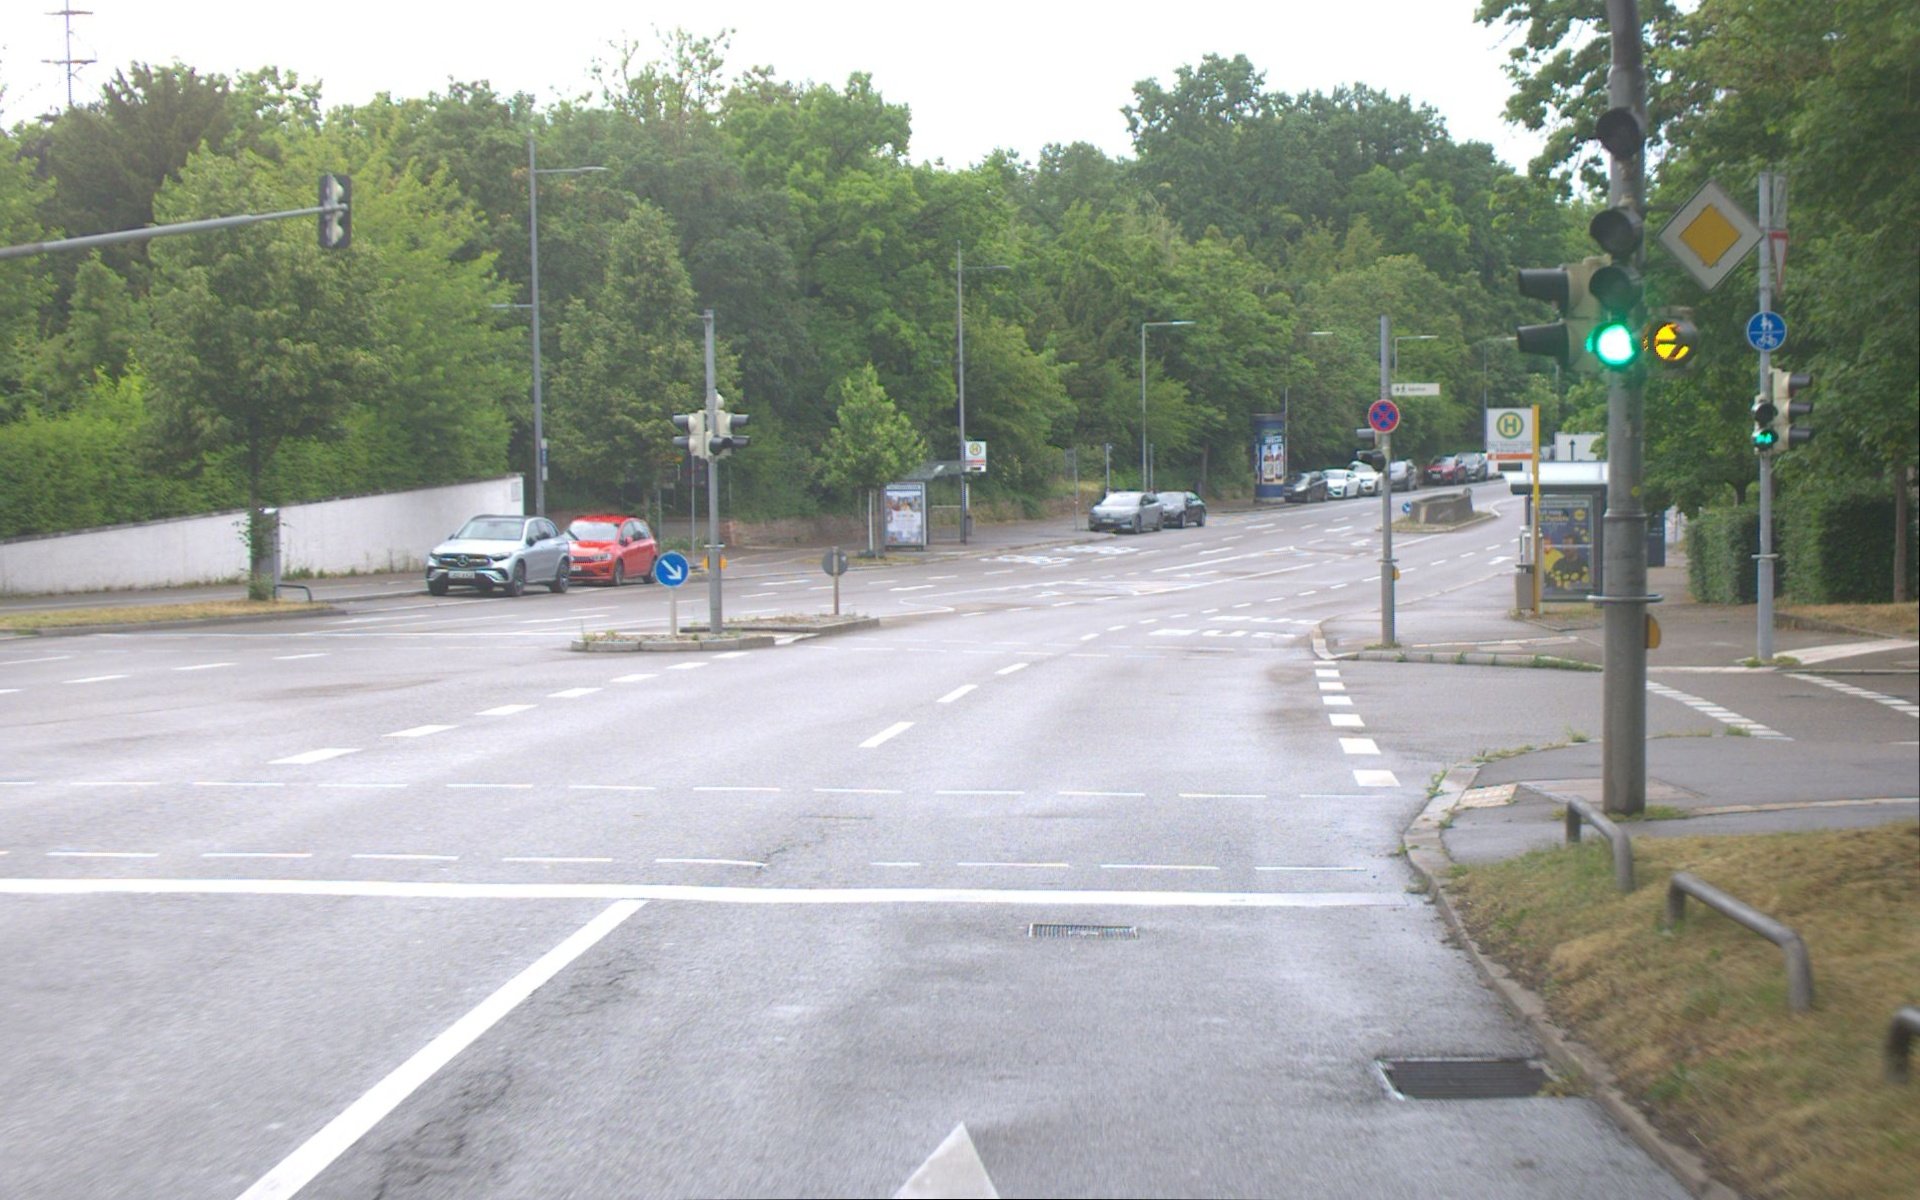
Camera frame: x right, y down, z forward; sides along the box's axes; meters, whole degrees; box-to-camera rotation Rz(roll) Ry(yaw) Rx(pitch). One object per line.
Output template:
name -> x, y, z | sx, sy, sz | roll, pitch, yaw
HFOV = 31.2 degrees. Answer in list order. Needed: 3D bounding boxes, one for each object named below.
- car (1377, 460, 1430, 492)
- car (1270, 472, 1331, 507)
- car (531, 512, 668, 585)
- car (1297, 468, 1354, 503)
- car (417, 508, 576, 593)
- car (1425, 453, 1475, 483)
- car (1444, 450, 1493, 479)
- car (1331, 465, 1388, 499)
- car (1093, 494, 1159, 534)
car -> 23.581, -6.603, 182.689 | 1.958, 1.480, 3.997 | 3, 5, 20
car -> 16.421, -5.336, 165.538 | 1.958, 1.480, 3.997 | 3, 5, 20
car -> -8.228, -1.190, 78.826 | 1.875, 1.569, 4.221 | 3, 1, 12
car -> 18.118, -5.686, 170.194 | 1.861, 1.480, 3.997 | 3, 5, 20
car -> -9.616, -1.054, 71.589 | 1.854, 1.634, 4.091 | 3, 2, 14
car -> 27.711, -7.491, 194.445 | 1.958, 1.480, 3.997 | 3, 5, 20
car -> 29.524, -7.872, 199.510 | 1.958, 1.480, 3.997 | 3, 5, 20
car -> 20.337, -6.016, 174.766 | 1.958, 1.480, 3.997 | 3, 5, 20
car -> 6.362, -3.293, 131.650 | 1.714, 1.455, 3.748 | 1, 1, 15
